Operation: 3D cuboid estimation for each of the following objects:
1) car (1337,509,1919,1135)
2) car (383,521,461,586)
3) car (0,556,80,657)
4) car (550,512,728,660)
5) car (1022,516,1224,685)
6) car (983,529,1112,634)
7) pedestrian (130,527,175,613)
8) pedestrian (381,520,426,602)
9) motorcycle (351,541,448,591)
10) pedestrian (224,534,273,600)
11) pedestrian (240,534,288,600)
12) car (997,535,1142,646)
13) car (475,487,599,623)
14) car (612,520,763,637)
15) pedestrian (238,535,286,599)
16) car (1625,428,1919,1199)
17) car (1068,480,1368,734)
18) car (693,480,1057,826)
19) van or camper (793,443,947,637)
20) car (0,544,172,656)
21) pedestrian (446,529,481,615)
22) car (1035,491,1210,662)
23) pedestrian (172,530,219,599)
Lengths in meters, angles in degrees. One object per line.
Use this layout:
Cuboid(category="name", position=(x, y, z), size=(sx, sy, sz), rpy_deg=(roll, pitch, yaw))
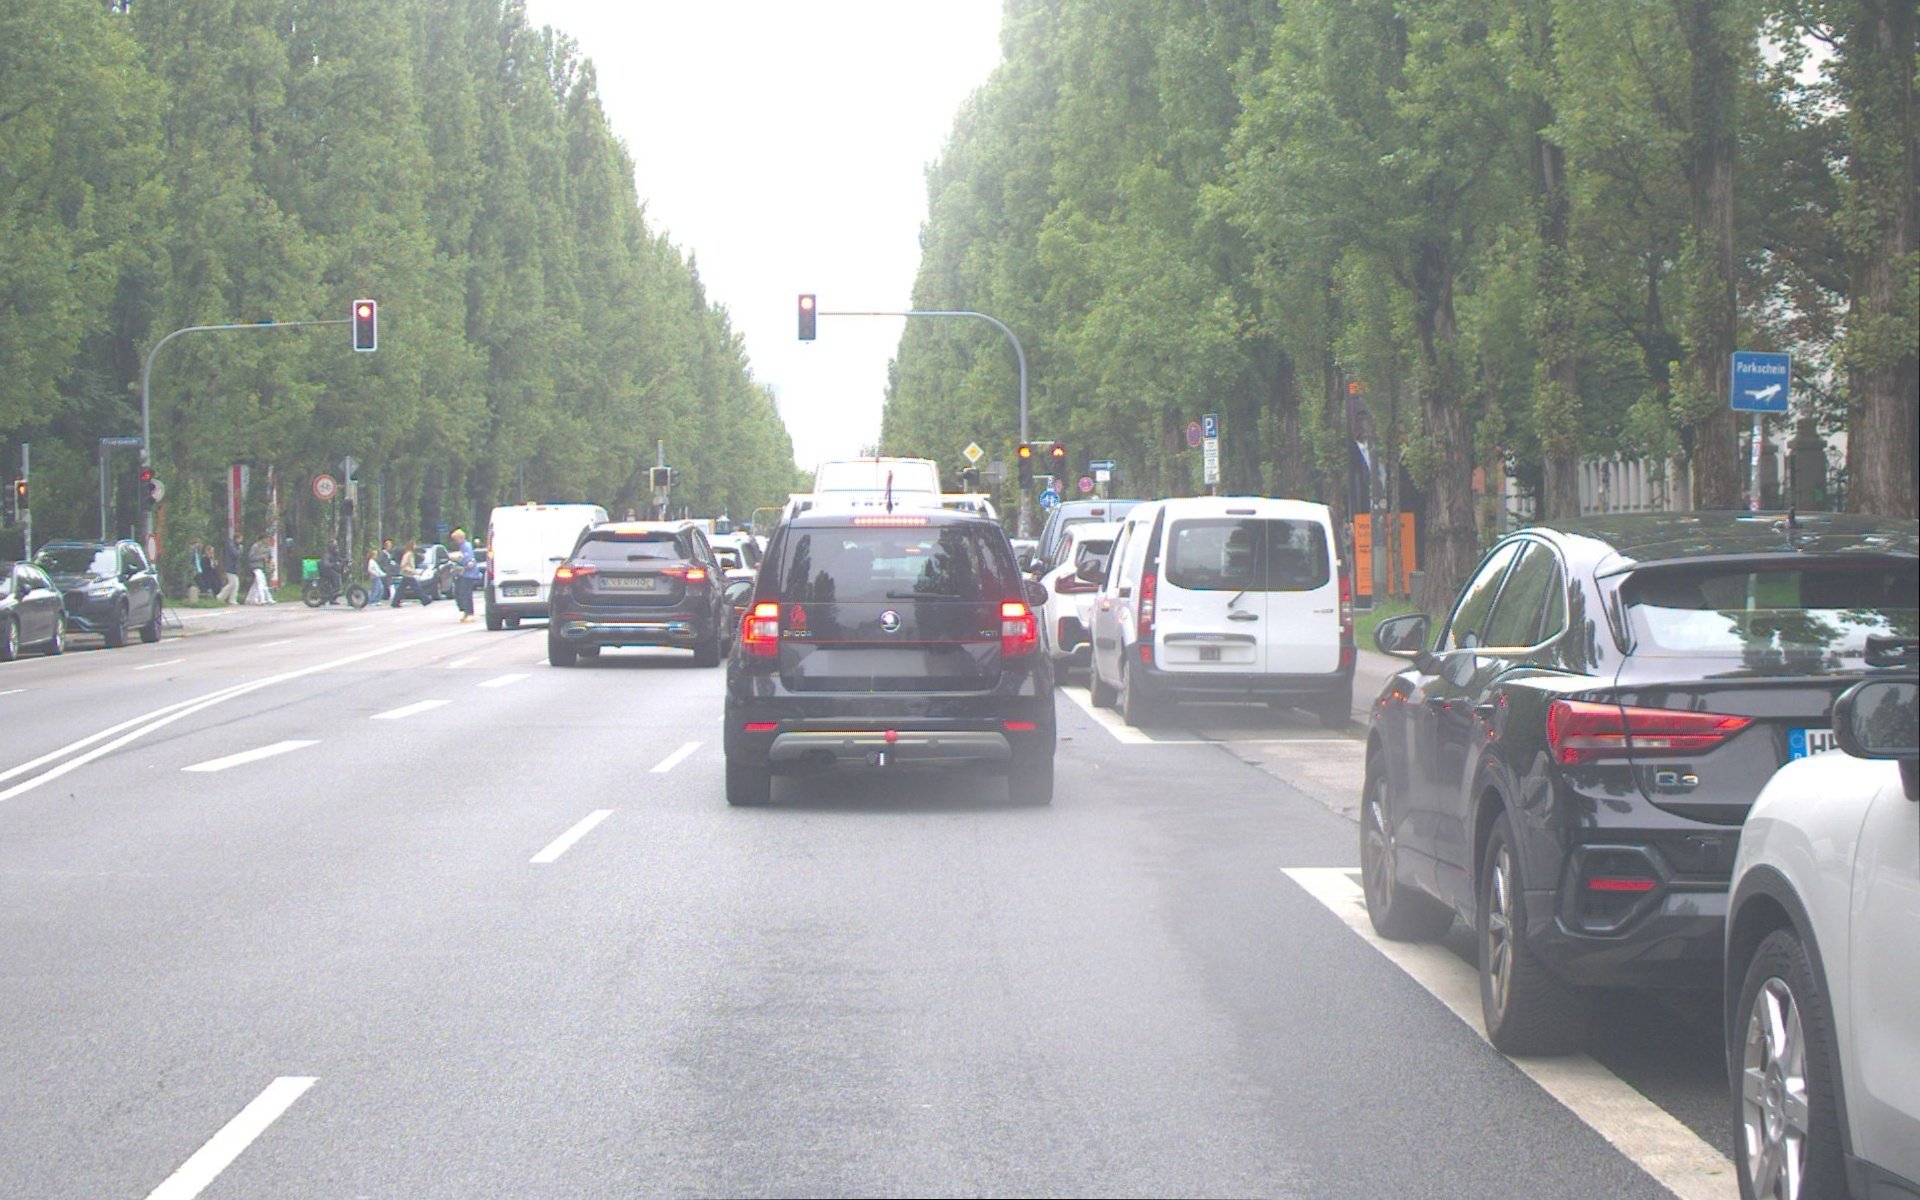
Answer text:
Cuboid(category="car", position=(2.414, 0.495, 10.819), size=(1.880, 1.535, 4.464), rpy_deg=(-1, 2, -1))
Cuboid(category="car", position=(-15.211, -1.341, 97.319), size=(1.688, 1.776, 3.775), rpy_deg=(-1, 1, -1))
Cuboid(category="car", position=(-14.295, 0.097, 50.927), size=(1.623, 1.384, 4.168), rpy_deg=(-3, 1, -4))
Cuboid(category="car", position=(-3.648, -0.205, 39.657), size=(1.781, 1.614, 4.025), rpy_deg=(0, 1, -2))
Cuboid(category="car", position=(1.602, -0.046, 35.052), size=(1.741, 1.587, 4.212), rpy_deg=(-1, 2, -1))
Cuboid(category="car", position=(1.276, -0.303, 51.700), size=(1.735, 1.470, 3.563), rpy_deg=(-1, 2, -1))
Cuboid(category="pedestrian", position=(-14.890, -0.554, 63.417), size=(0.660, 1.572, 0.530), rpy_deg=(-1, 1, -1))
Cuboid(category="pedestrian", position=(-13.863, -0.979, 85.631), size=(0.885, 2.007, 1.013), rpy_deg=(-1, 1, 2))
Cuboid(category="motorcycle", position=(-14.507, -0.882, 88.991), size=(2.363, 1.265, 0.930), rpy_deg=(-1, 1, -1))
Cuboid(category="pedestrian", position=(-18.239, -0.850, 88.122), size=(0.880, 1.649, 0.878), rpy_deg=(-2, 1, -39))
Cuboid(category="pedestrian", position=(-17.699, -0.839, 87.418), size=(0.880, 1.649, 0.878), rpy_deg=(-2, 1, -39))
Cuboid(category="car", position=(1.434, -0.161, 46.197), size=(1.735, 1.382, 3.563), rpy_deg=(-1, 2, -1))
Cuboid(category="car", position=(-6.763, -0.741, 55.292), size=(1.781, 2.104, 4.026), rpy_deg=(-1, 1, -4))
Cuboid(category="car", position=(-3.880, -0.342, 49.548), size=(1.993, 1.555, 4.001), rpy_deg=(-1, 2, -2))
Cuboid(category="pedestrian", position=(-18.130, -0.853, 89.309), size=(0.880, 1.649, 0.878), rpy_deg=(-2, 1, -39))
Cuboid(category="car", position=(2.461, 0.541, 5.588), size=(1.742, 1.670, 4.580), rpy_deg=(-1, 2, -1))
Cuboid(category="car", position=(2.003, -0.002, 27.847), size=(1.851, 1.875, 4.169), rpy_deg=(-1, 2, -3))
Cuboid(category="car", position=(-0.484, 0.232, 19.862), size=(1.855, 1.764, 4.000), rpy_deg=(1, 1, -1))
Cuboid(category="van or camper", position=(-1.292, -0.848, 47.739), size=(1.975, 2.539, 4.025), rpy_deg=(-1, 1, -3))
Cuboid(category="car", position=(-14.401, -0.040, 56.875), size=(1.849, 1.648, 4.697), rpy_deg=(-3, 1, -4))
Cuboid(category="pedestrian", position=(-9.106, -0.519, 63.058), size=(0.528, 1.572, 0.662), rpy_deg=(-1, 1, -1))
Cuboid(category="car", position=(1.863, -0.318, 40.430), size=(1.735, 1.888, 4.025), rpy_deg=(-1, 1, -1))
Cuboid(category="pedestrian", position=(-19.788, -0.913, 88.996), size=(0.880, 1.758, 0.878), rpy_deg=(-1, 1, 8))
